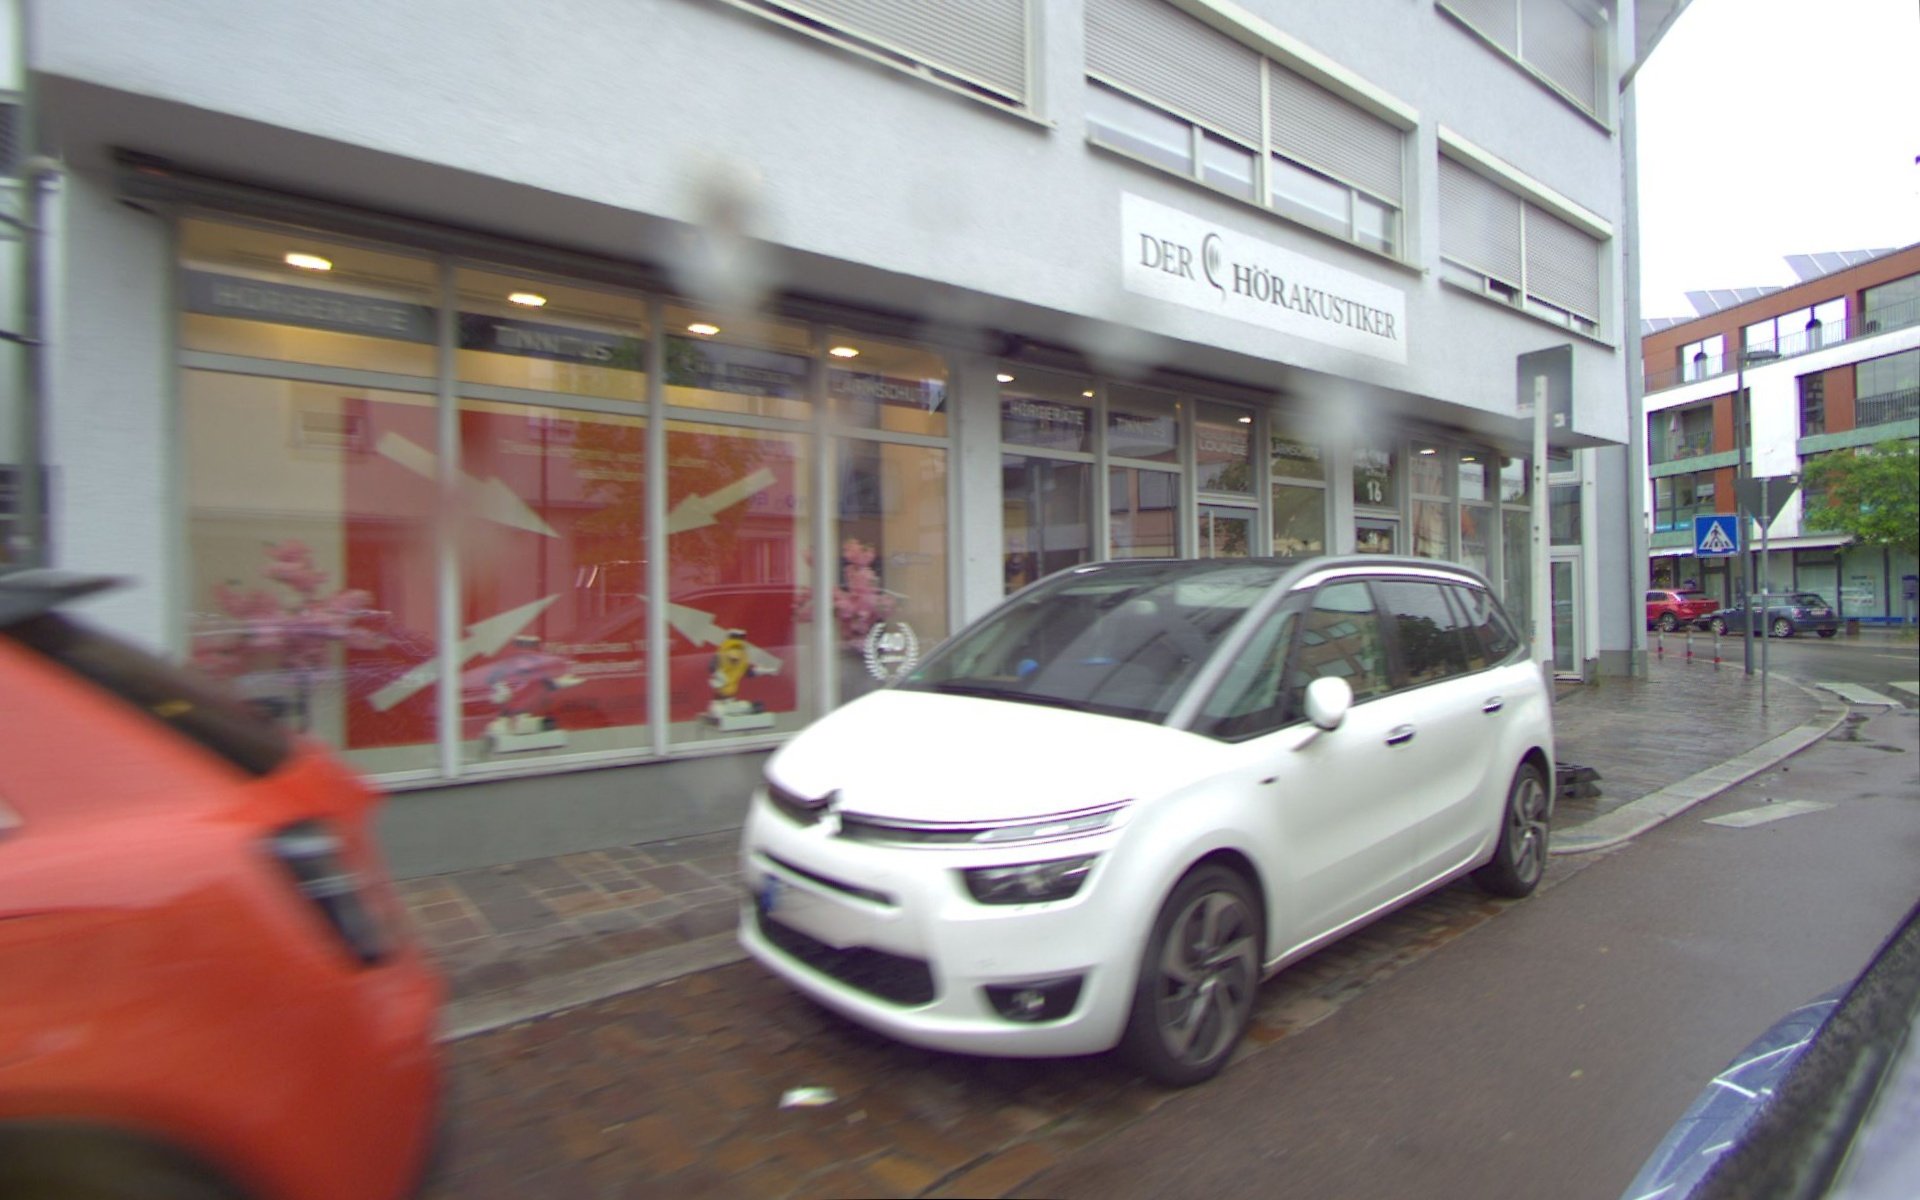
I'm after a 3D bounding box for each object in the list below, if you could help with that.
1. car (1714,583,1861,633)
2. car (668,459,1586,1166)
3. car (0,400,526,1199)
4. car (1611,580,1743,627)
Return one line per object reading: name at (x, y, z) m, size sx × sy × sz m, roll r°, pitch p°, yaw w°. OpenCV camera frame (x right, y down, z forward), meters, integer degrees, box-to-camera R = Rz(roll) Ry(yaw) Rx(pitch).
car at (26.683, 0.230, 32.796) m, size 1.647 × 1.453 × 3.588 m, roll -2°, pitch 0°, yaw -3°
car at (1.128, 0.523, 4.509) m, size 4.366 × 1.620 × 1.788 m, roll 1°, pitch -2°, yaw -44°
car at (-2.744, 0.567, 1.017) m, size 3.881 × 1.487 × 1.790 m, roll -3°, pitch 1°, yaw -41°
car at (26.459, 0.109, 37.534) m, size 1.767 × 1.574 × 3.926 m, roll -2°, pitch 0°, yaw -7°
